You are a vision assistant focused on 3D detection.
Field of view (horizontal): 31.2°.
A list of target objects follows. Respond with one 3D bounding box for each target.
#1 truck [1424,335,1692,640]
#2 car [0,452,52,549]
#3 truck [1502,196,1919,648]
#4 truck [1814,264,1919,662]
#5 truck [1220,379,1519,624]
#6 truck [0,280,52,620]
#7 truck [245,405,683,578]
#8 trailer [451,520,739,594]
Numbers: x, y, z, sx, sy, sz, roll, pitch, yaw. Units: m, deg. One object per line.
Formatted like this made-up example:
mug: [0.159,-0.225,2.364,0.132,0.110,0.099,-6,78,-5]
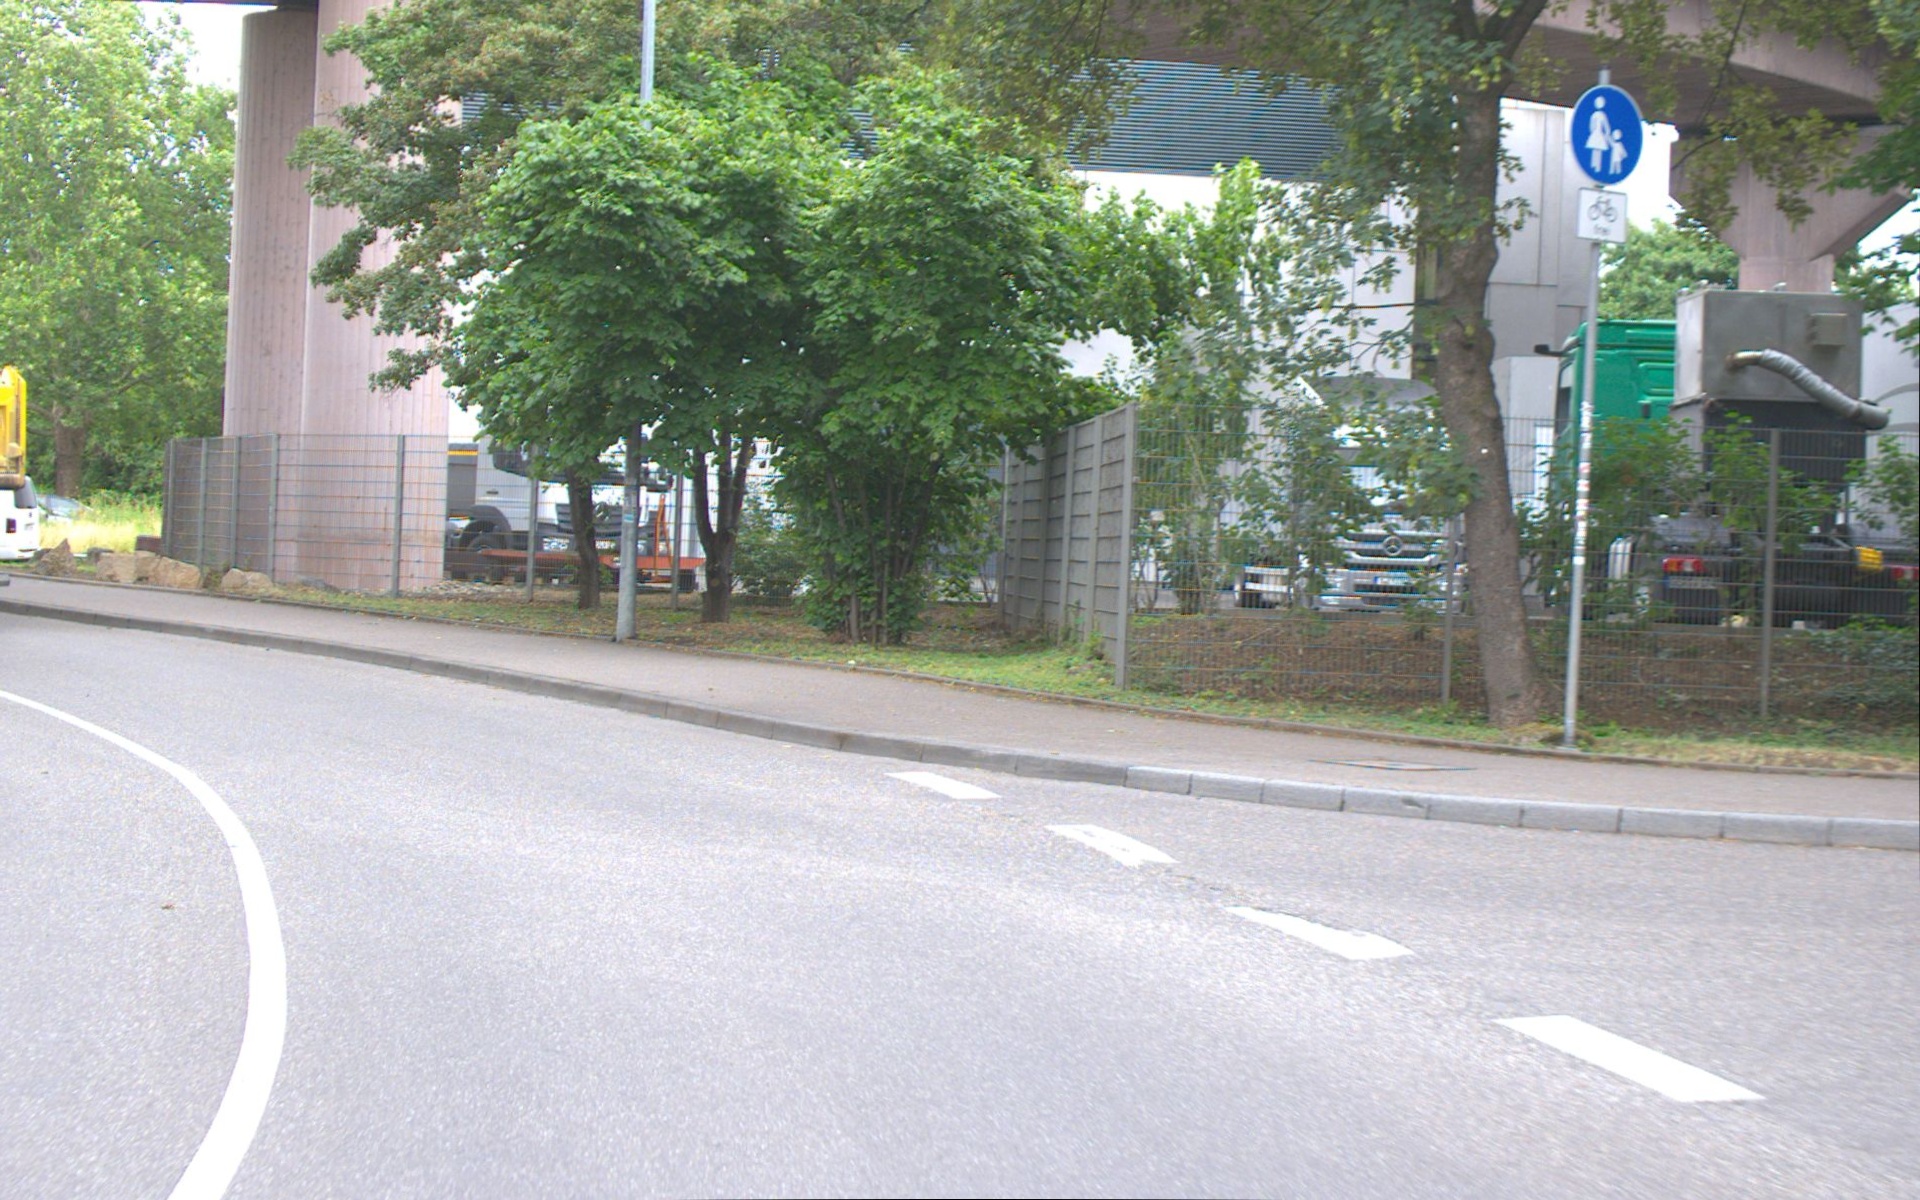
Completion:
truck: [9.988,-1.945,58.354,3.203,4.763,8.049,1,2,1]
car: [-20.231,-1.958,67.252,4.315,1.851,2.000,1,0,5]
truck: [7.547,-1.703,33.804,3.065,3.949,6.924,1,2,-2]
truck: [10.903,-1.270,32.532,3.065,3.854,8.050,1,2,-4]
truck: [6.451,-1.663,55.568,3.054,3.606,7.918,1,3,-6]
truck: [-12.867,-1.671,38.060,2.927,3.469,8.245,-2,3,-33]
truck: [-7.904,-1.726,54.193,7.225,2.543,2.718,2,2,41]
trailer: [-5.034,-0.616,46.490,2.148,0.740,6.296,-2,3,-23]
